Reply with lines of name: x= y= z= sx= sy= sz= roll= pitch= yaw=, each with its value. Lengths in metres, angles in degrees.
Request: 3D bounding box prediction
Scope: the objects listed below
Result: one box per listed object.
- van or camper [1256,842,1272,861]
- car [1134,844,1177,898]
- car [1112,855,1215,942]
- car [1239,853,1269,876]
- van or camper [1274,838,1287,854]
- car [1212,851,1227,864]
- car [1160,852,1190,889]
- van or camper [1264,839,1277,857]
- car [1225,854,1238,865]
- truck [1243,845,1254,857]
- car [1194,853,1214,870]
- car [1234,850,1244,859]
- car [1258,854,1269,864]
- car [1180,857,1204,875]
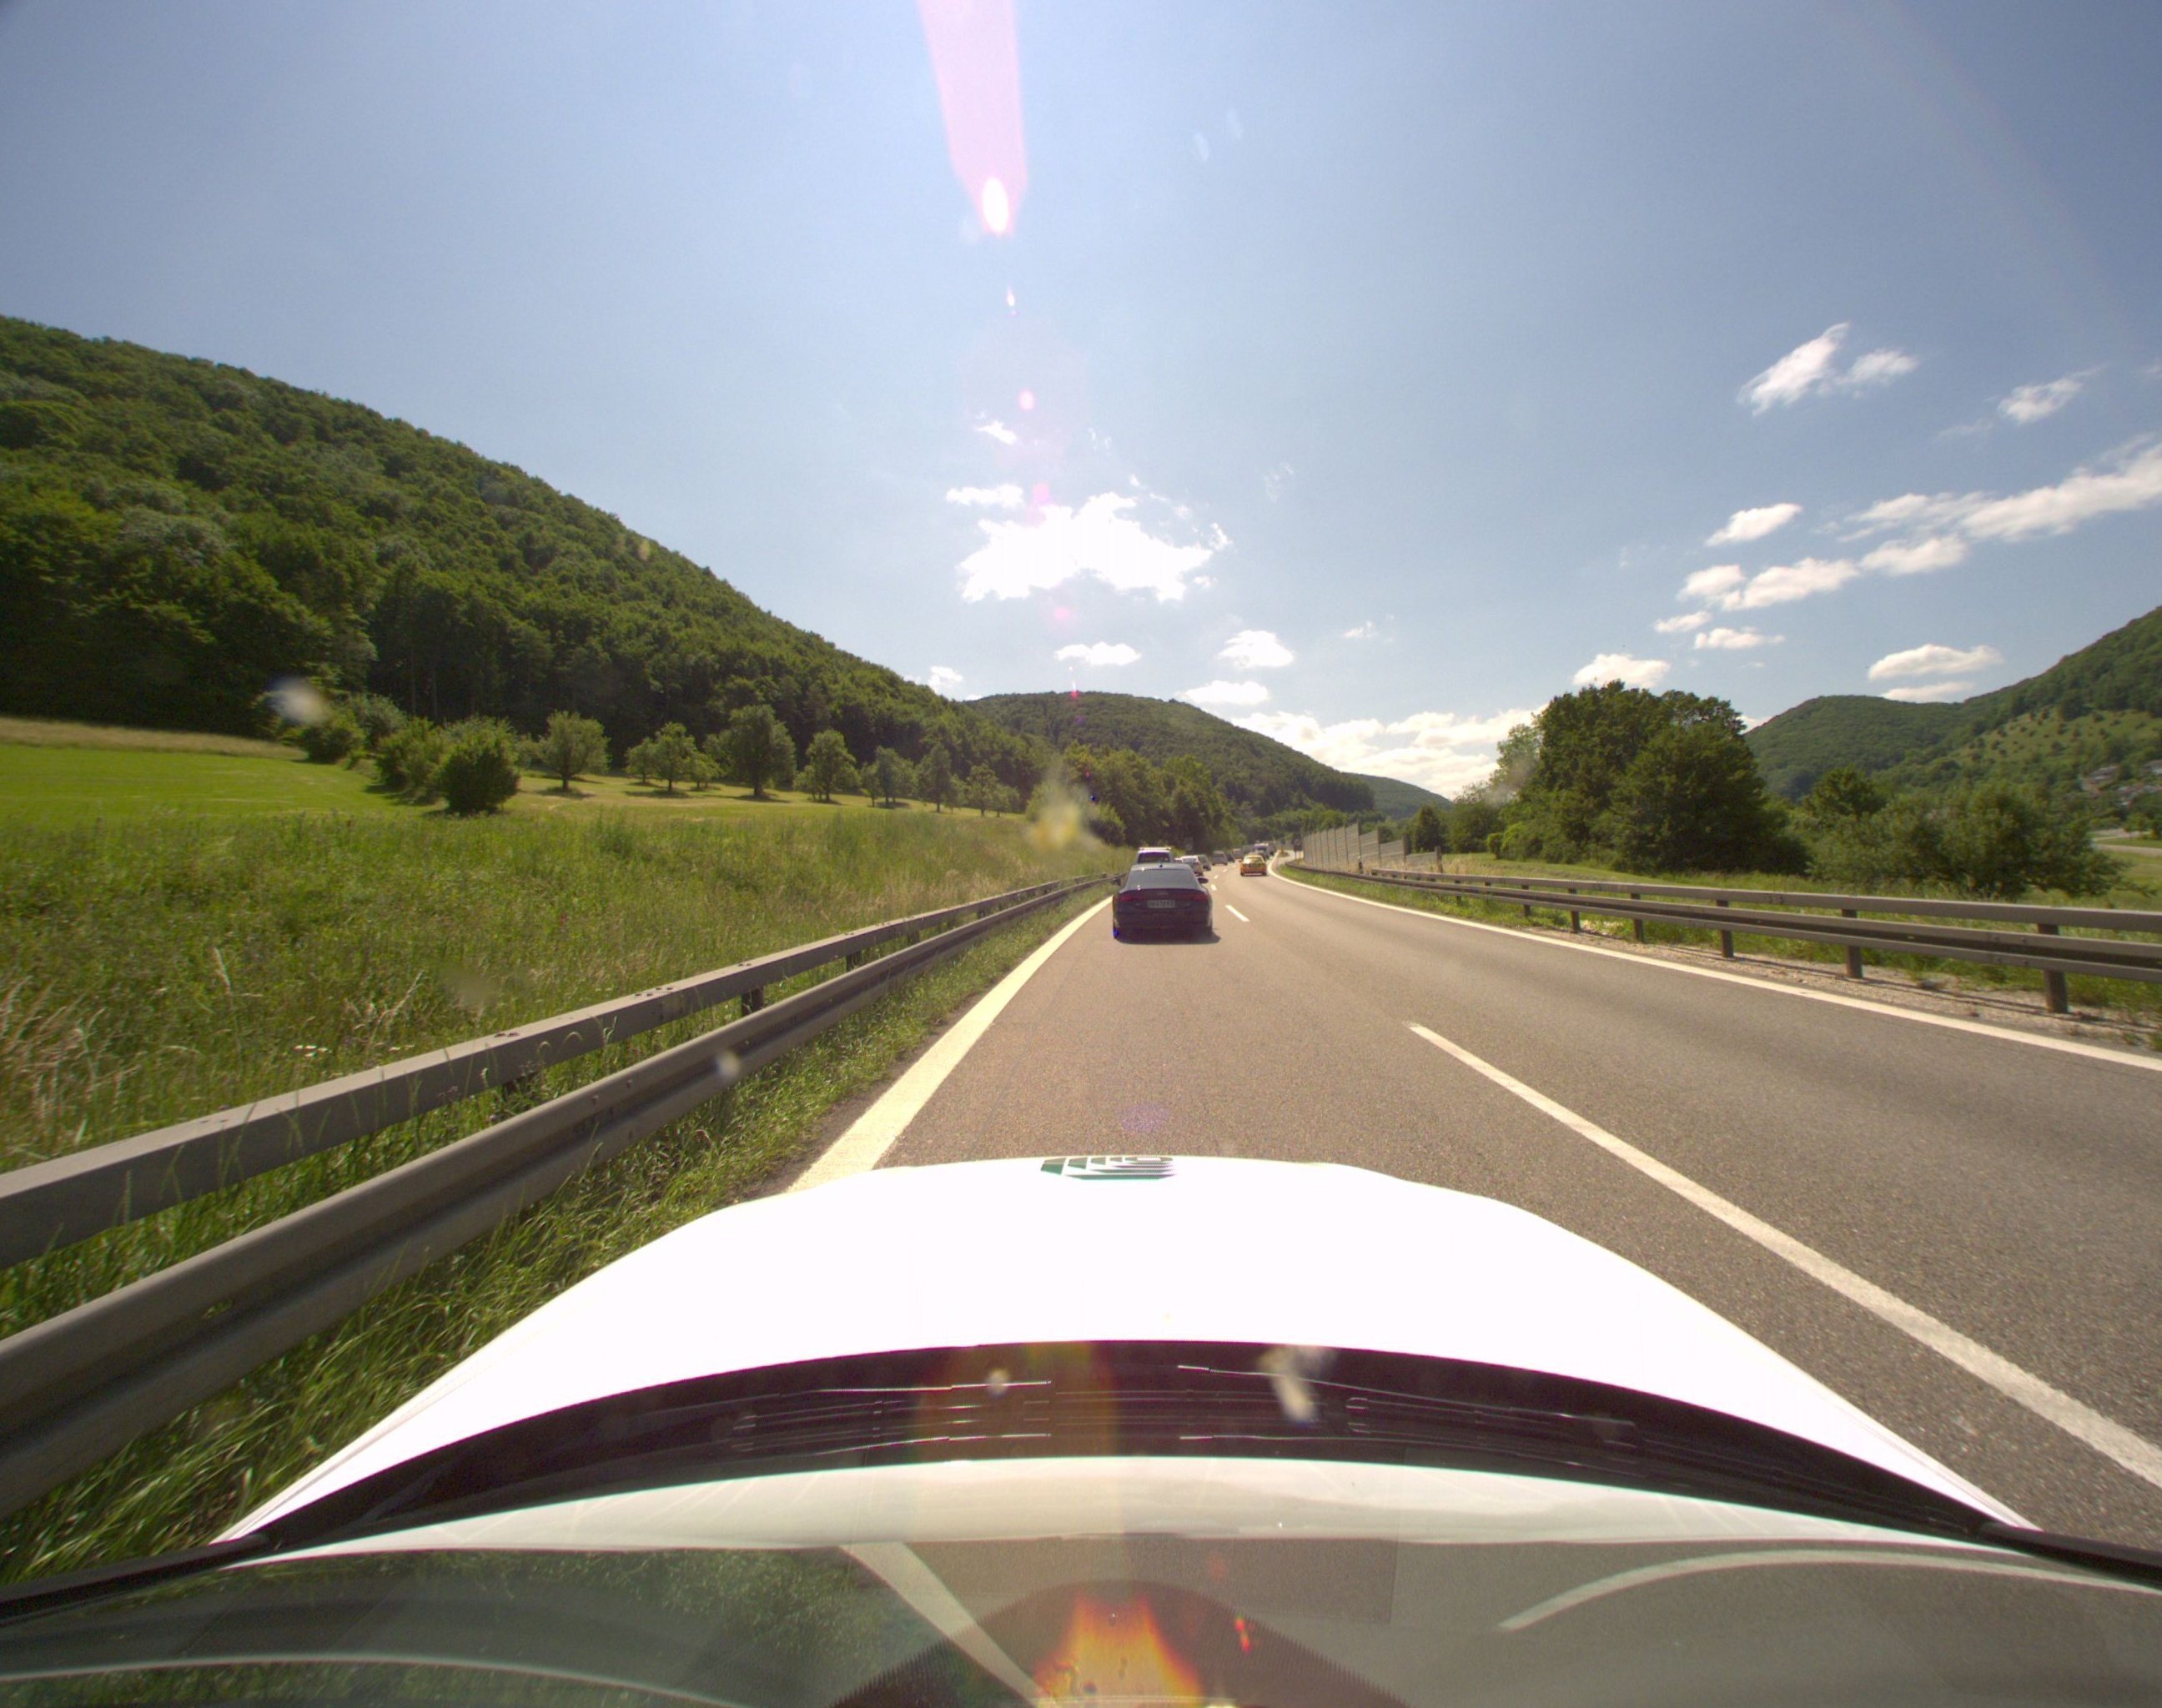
van or camper: x=31.109 y=-0.452 z=138.462 sx=2.412 sy=3.155 sz=5.223 roll=-1 pitch=-1 yaw=14
car: x=2.956 y=0.634 z=31.713 sx=1.513 sy=1.968 sz=3.521 roll=0 pitch=0 yaw=7
car: x=1.659 y=0.786 z=16.178 sx=1.802 sy=1.514 sz=3.521 roll=0 pitch=0 yaw=6
car: x=12.473 y=0.716 z=58.563 sx=1.865 sy=1.499 sz=4.016 roll=-2 pitch=0 yaw=14
van or camper: x=48.512 y=-1.980 z=198.401 sx=2.776 sy=3.841 sz=6.187 roll=-1 pitch=-1 yaw=12
car: x=17.013 y=0.416 z=100.031 sx=1.510 sy=1.553 sz=3.529 roll=0 pitch=0 yaw=15
car: x=5.167 y=0.881 z=44.335 sx=1.531 sy=1.925 sz=3.486 roll=0 pitch=-1 yaw=8
van or camper: x=42.264 y=-1.397 z=181.518 sx=2.776 sy=3.907 sz=6.187 roll=-1 pitch=-1 yaw=12
car: x=22.309 y=0.823 z=120.395 sx=1.509 sy=1.553 sz=3.529 roll=0 pitch=0 yaw=16
truck: x=37.913 y=-0.652 z=184.511 sx=2.049 sy=2.605 sz=5.637 roll=0 pitch=0 yaw=16
car: x=11.530 y=0.662 z=76.419 sx=1.510 sy=1.553 sz=3.528 roll=0 pitch=0 yaw=14
car: x=27.942 y=0.029 z=144.056 sx=1.509 sy=1.553 sz=3.529 roll=0 pitch=0 yaw=16
car: x=27.362 y=0.747 z=122.169 sx=1.477 sy=1.570 sz=3.012 roll=-1 pitch=-1 yaw=14
car: x=8.263 y=0.875 z=60.681 sx=1.511 sy=1.294 sz=3.525 roll=-1 pitch=0 yaw=12
